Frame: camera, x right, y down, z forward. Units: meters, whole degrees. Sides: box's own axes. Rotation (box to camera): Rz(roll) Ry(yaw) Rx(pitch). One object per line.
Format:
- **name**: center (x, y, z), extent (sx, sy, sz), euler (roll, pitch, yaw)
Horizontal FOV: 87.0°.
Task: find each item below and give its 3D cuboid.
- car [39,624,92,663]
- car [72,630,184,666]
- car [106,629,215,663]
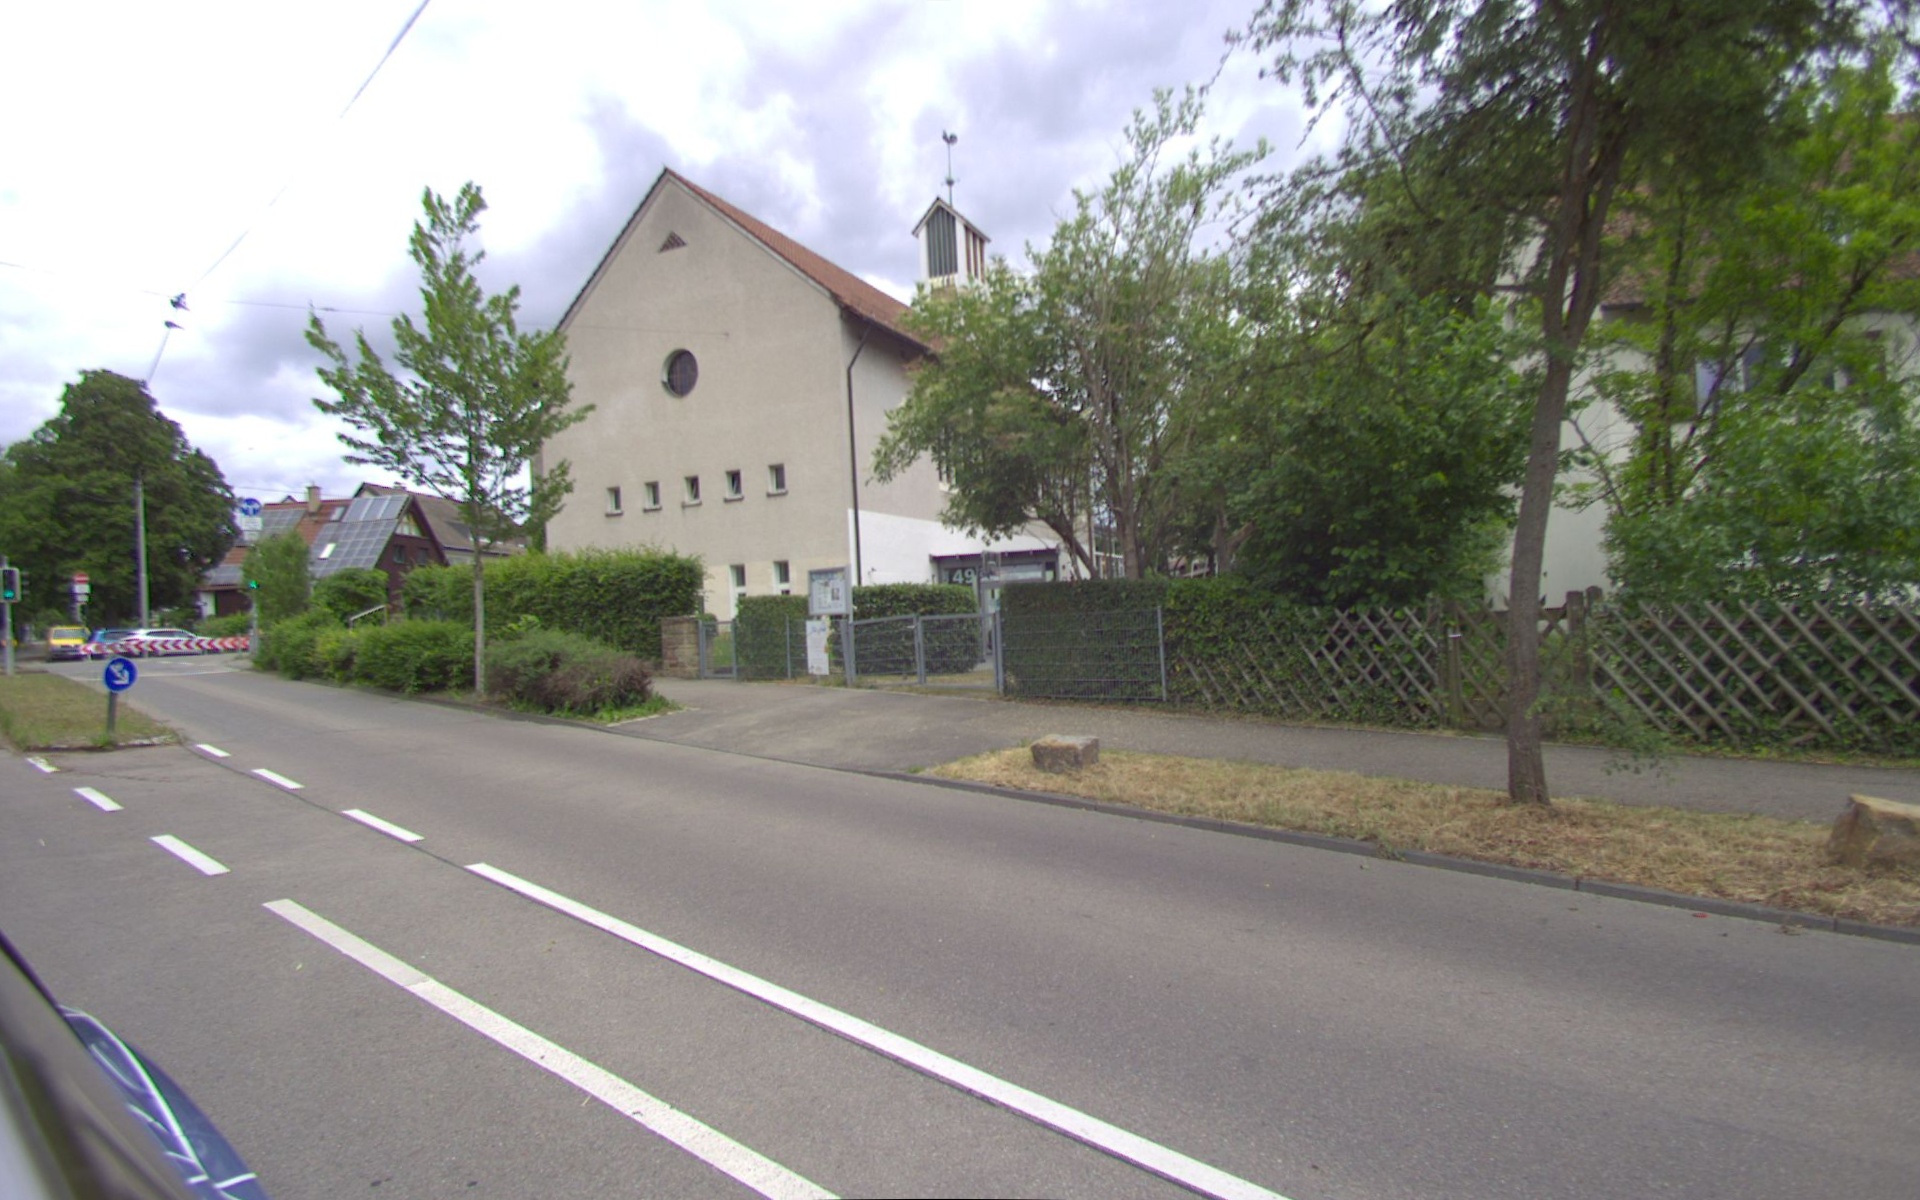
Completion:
- **car**: center (-49.355, 2.417, 55.805), extent (1.894, 2.004, 4.802), euler (-1, -1, -45)
- **car**: center (-42.298, 2.437, 51.520), extent (1.844, 1.558, 4.123), euler (-4, -2, 40)
- **car**: center (-39.953, 2.278, 50.637), extent (1.840, 1.483, 3.862), euler (-4, -2, 32)
